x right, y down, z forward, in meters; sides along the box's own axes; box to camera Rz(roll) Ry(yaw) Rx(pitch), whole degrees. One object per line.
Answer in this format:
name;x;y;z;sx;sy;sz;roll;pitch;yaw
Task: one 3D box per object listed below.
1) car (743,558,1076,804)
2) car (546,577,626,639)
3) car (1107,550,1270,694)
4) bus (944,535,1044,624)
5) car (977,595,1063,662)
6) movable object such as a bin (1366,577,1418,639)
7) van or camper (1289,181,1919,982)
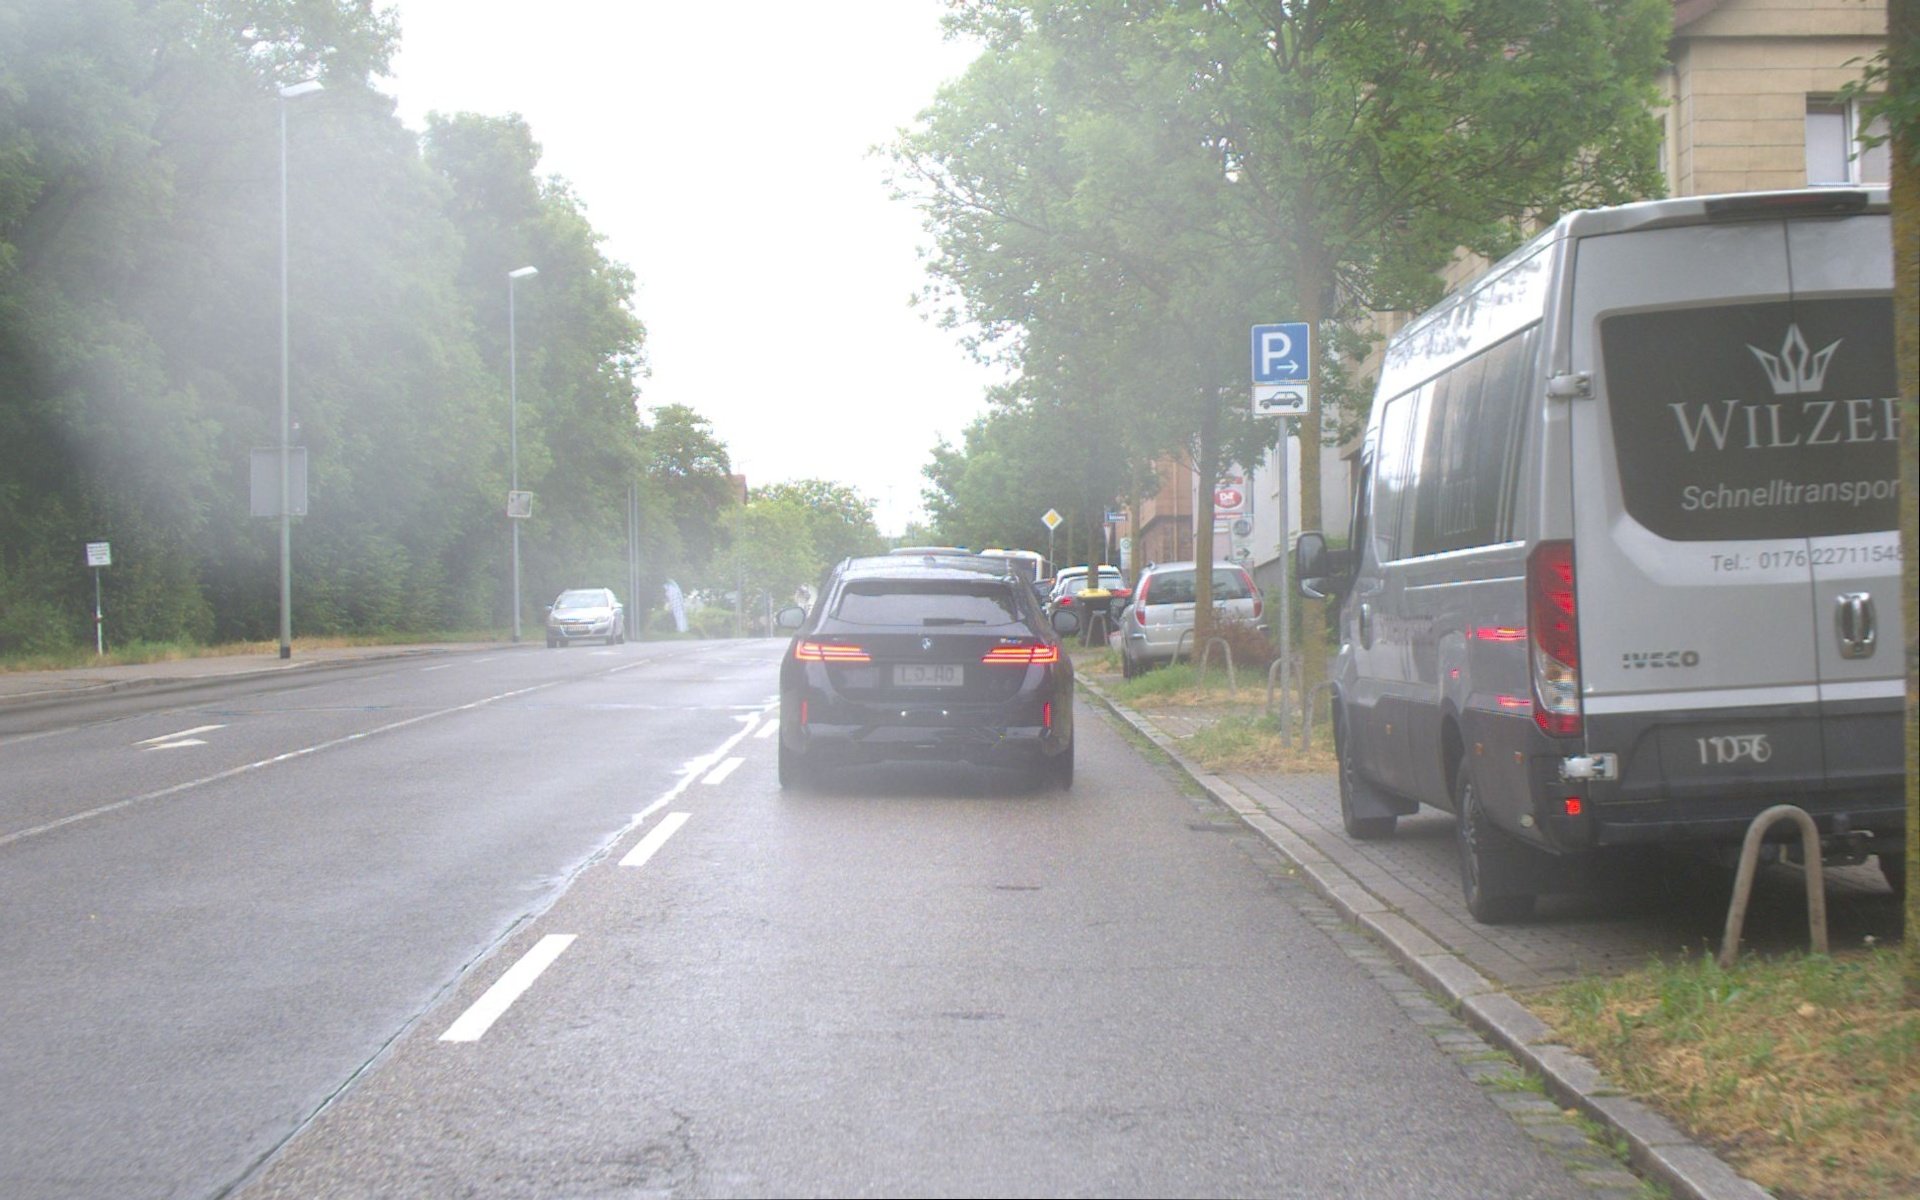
car;-0.339;0.490;23.112;1.993;1.448;4.000;2;0;-1
car;-9.563;0.183;88.153;1.689;1.478;4.452;-3;0;-2
car;2.823;0.226;43.286;1.702;1.579;4.643;-4;1;1
bus;1.223;-0.703;117.359;2.623;2.838;8.287;-2;0;5
car;1.876;0.881;105.992;1.927;1.886;4.759;-4;-1;8
movable object such as a bin;6.855;0.125;54.602;0.700;0.962;0.941;1;1;0
van or camper;2.949;-0.145;15.242;2.197;2.642;7.302;-2;1;0
